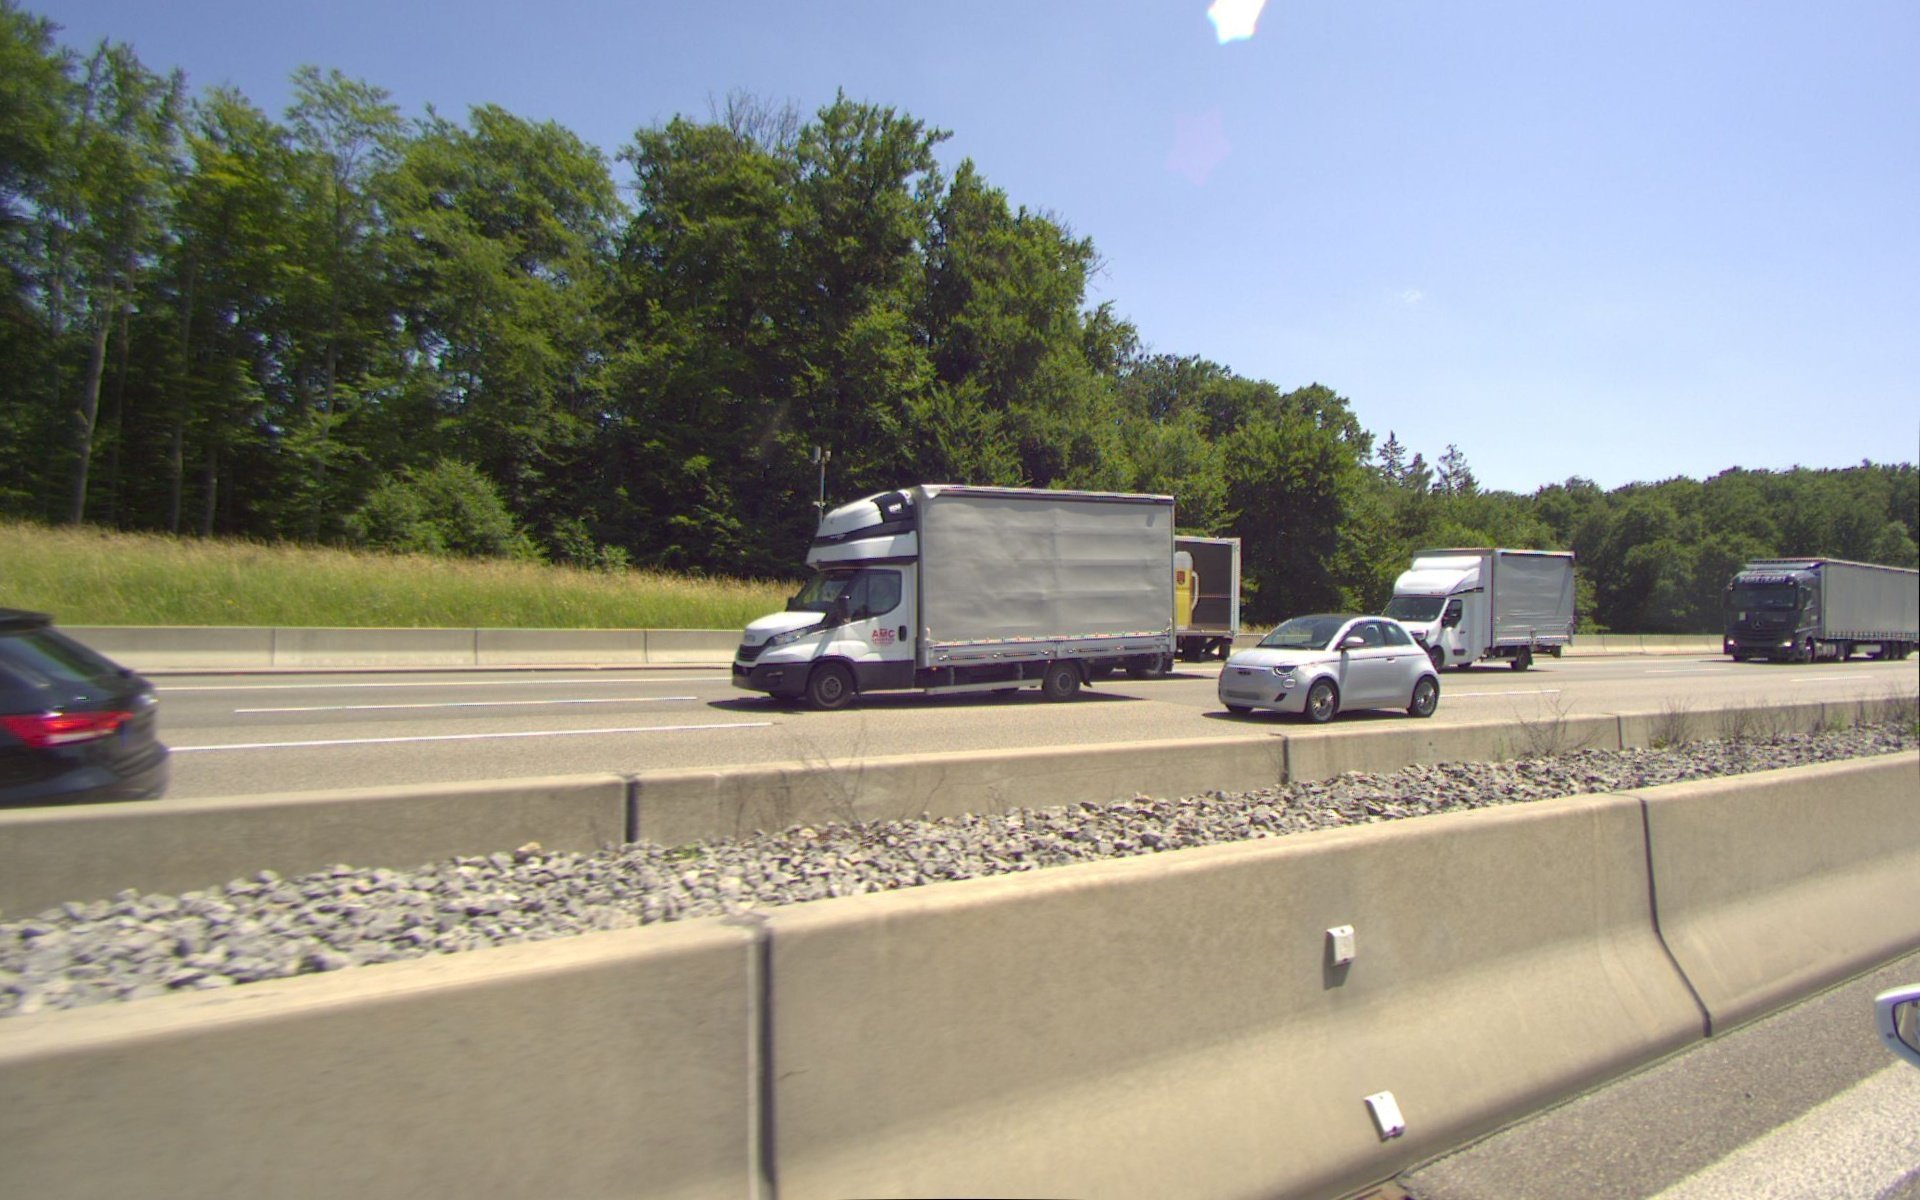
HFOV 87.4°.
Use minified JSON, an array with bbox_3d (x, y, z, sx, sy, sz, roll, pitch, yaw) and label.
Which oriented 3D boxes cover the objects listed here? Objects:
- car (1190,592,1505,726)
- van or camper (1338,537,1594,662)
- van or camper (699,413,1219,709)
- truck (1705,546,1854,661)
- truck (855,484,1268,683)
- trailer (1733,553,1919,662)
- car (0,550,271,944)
[{"bbox_3d":[6.039,0.842,15.451,5.058,1.786,1.732,2,-1,-30],"label":"car"},{"bbox_3d":[14.987,0.095,29.560,8.001,3.166,2.751,3,0,-30],"label":"van or camper"},{"bbox_3d":[0.201,-0.355,16.474,8.120,3.890,2.816,3,0,-31],"label":"van or camper"},{"bbox_3d":[33.595,0.213,41.124,6.383,4.347,2.860,2,-1,-33],"label":"truck"},{"bbox_3d":[2.473,-0.156,22.548,9.129,3.746,2.857,3,0,-29],"label":"truck"},{"bbox_3d":[38.965,0.467,44.635,13.809,4.319,2.848,2,-1,-33],"label":"trailer"},{"bbox_3d":[-5.890,0.557,4.148,4.785,1.611,1.985,2,-1,-29],"label":"car"}]
